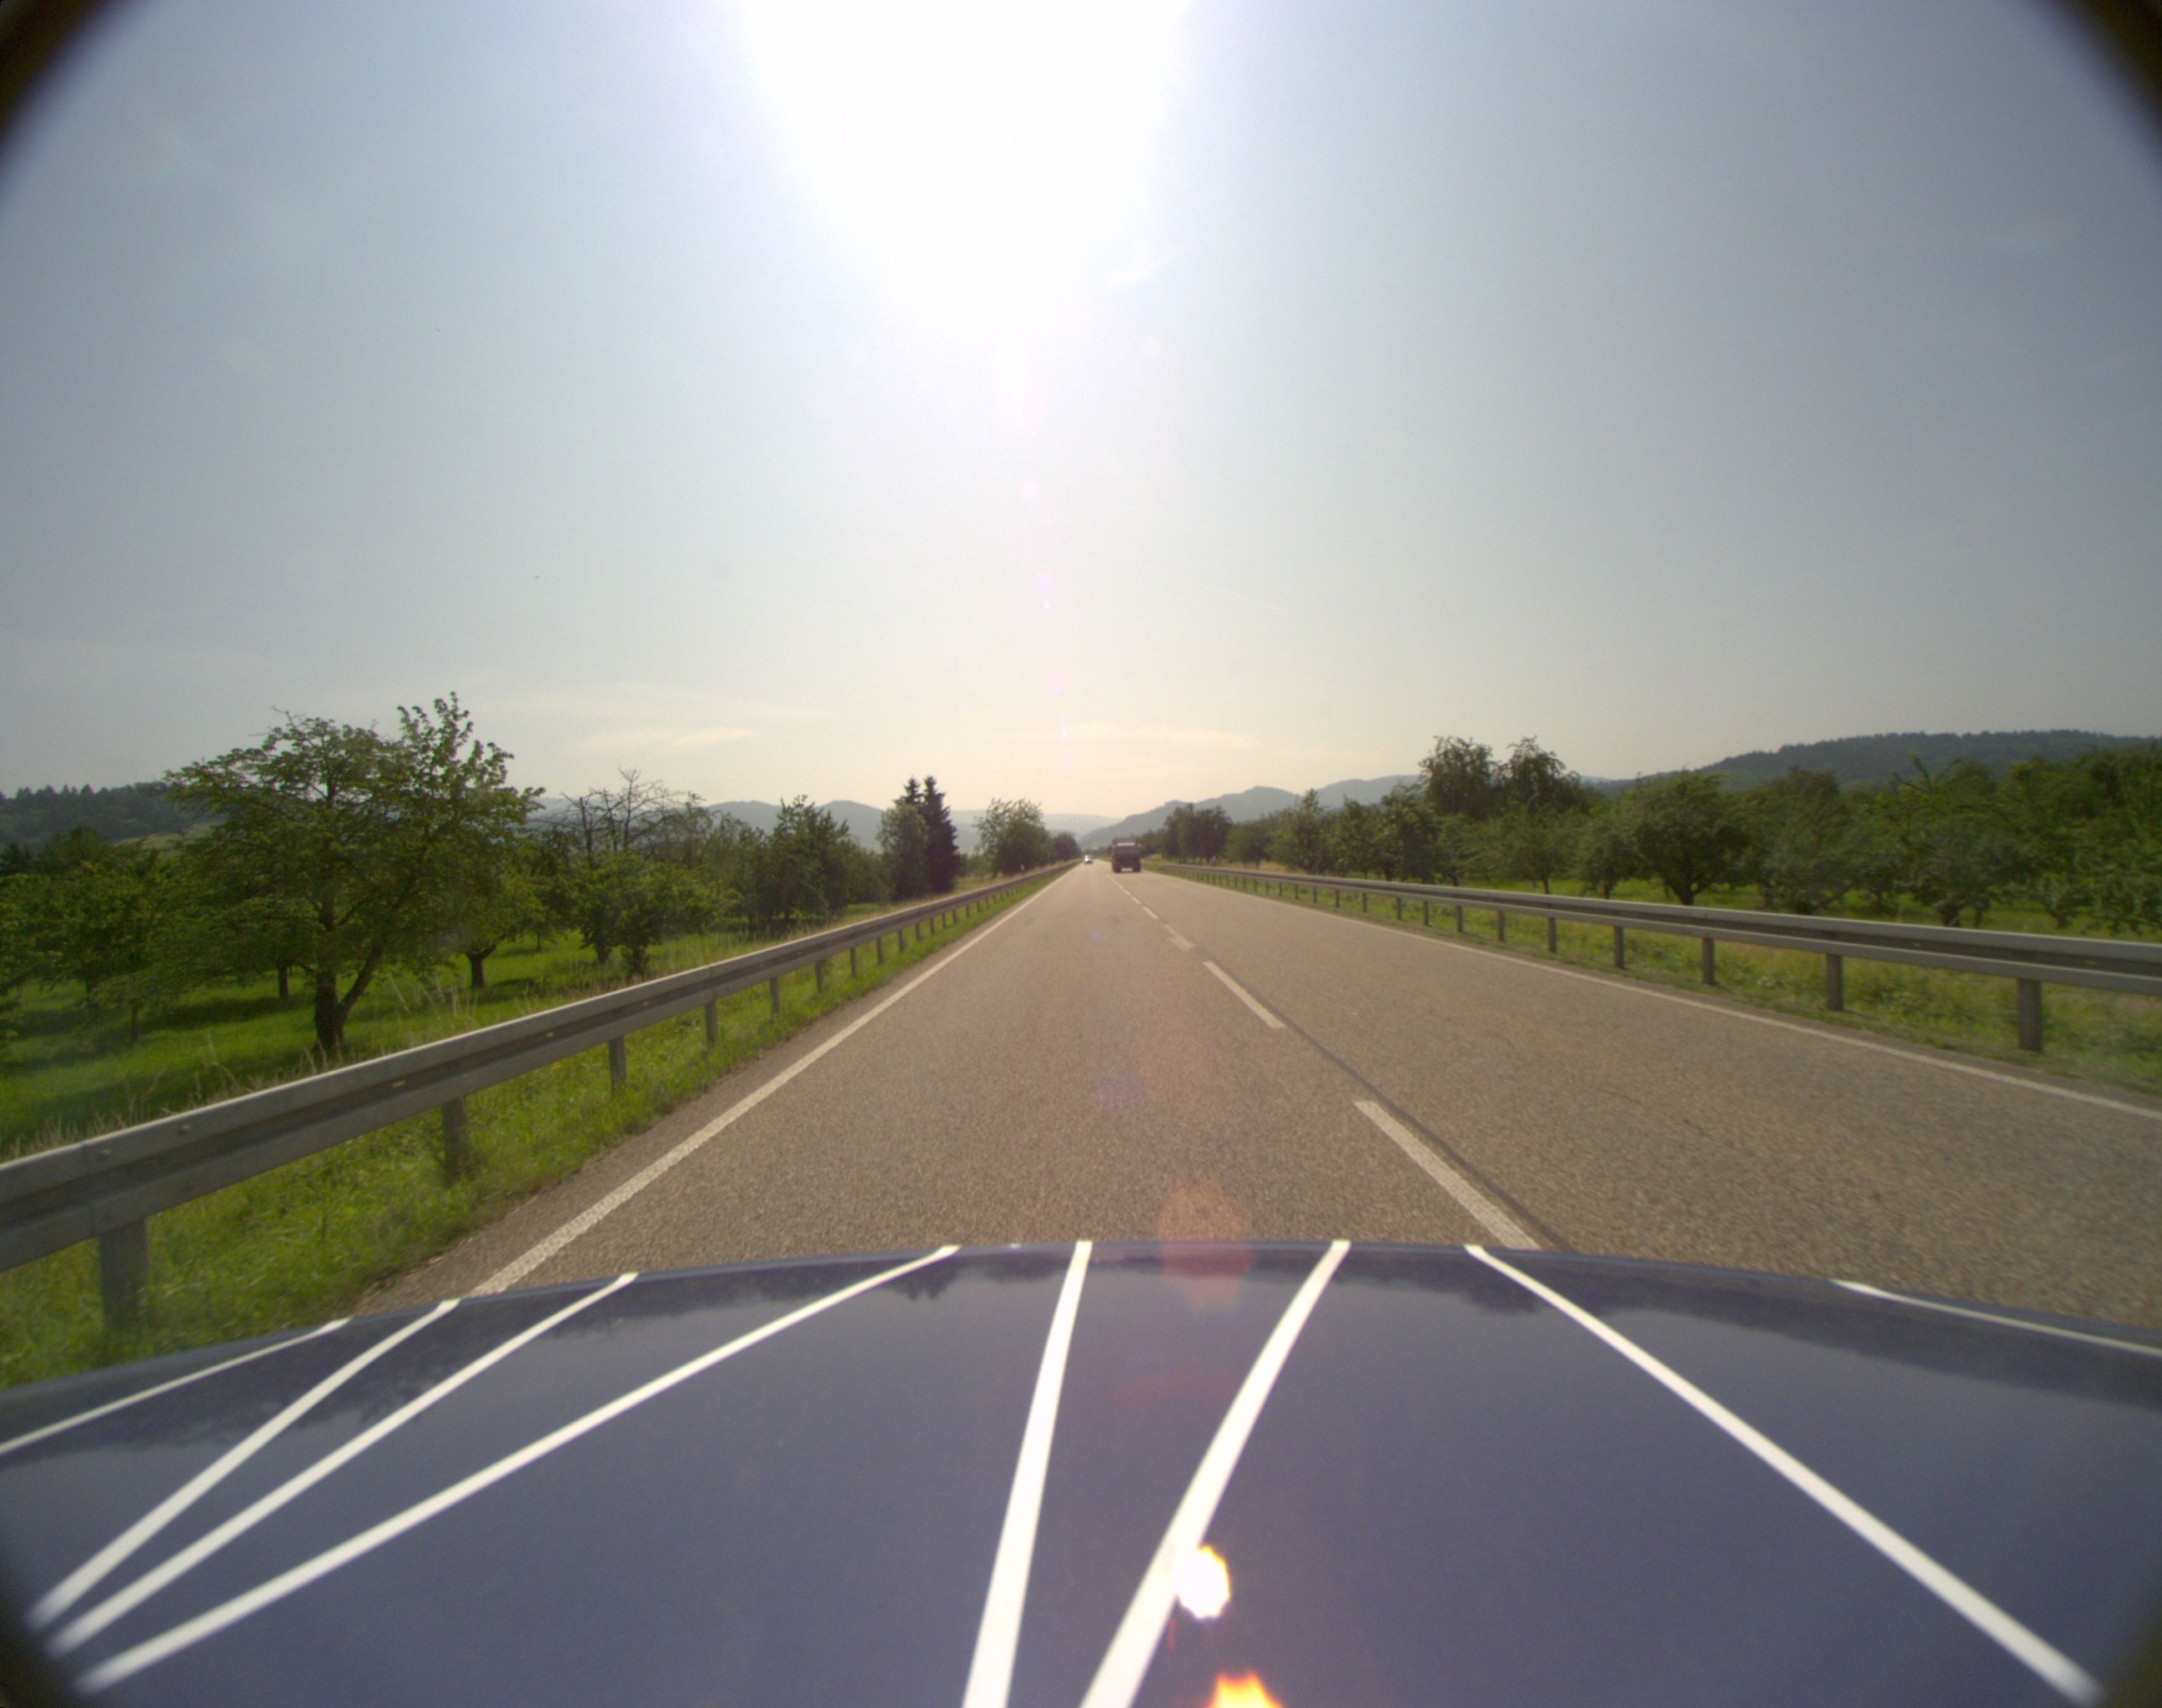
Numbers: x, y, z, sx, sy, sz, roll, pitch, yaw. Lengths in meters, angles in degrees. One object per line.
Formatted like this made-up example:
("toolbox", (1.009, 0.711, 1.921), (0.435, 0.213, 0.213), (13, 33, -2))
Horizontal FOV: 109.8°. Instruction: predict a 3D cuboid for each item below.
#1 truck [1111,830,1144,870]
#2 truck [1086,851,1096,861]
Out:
("truck", (4.559, -0.409, 75.934), (2.735, 3.651, 9.382), (-2, 1, 1))
("truck", (2.284, 0.434, 169.828), (2.032, 2.232, 4.764), (-2, 1, 1))
